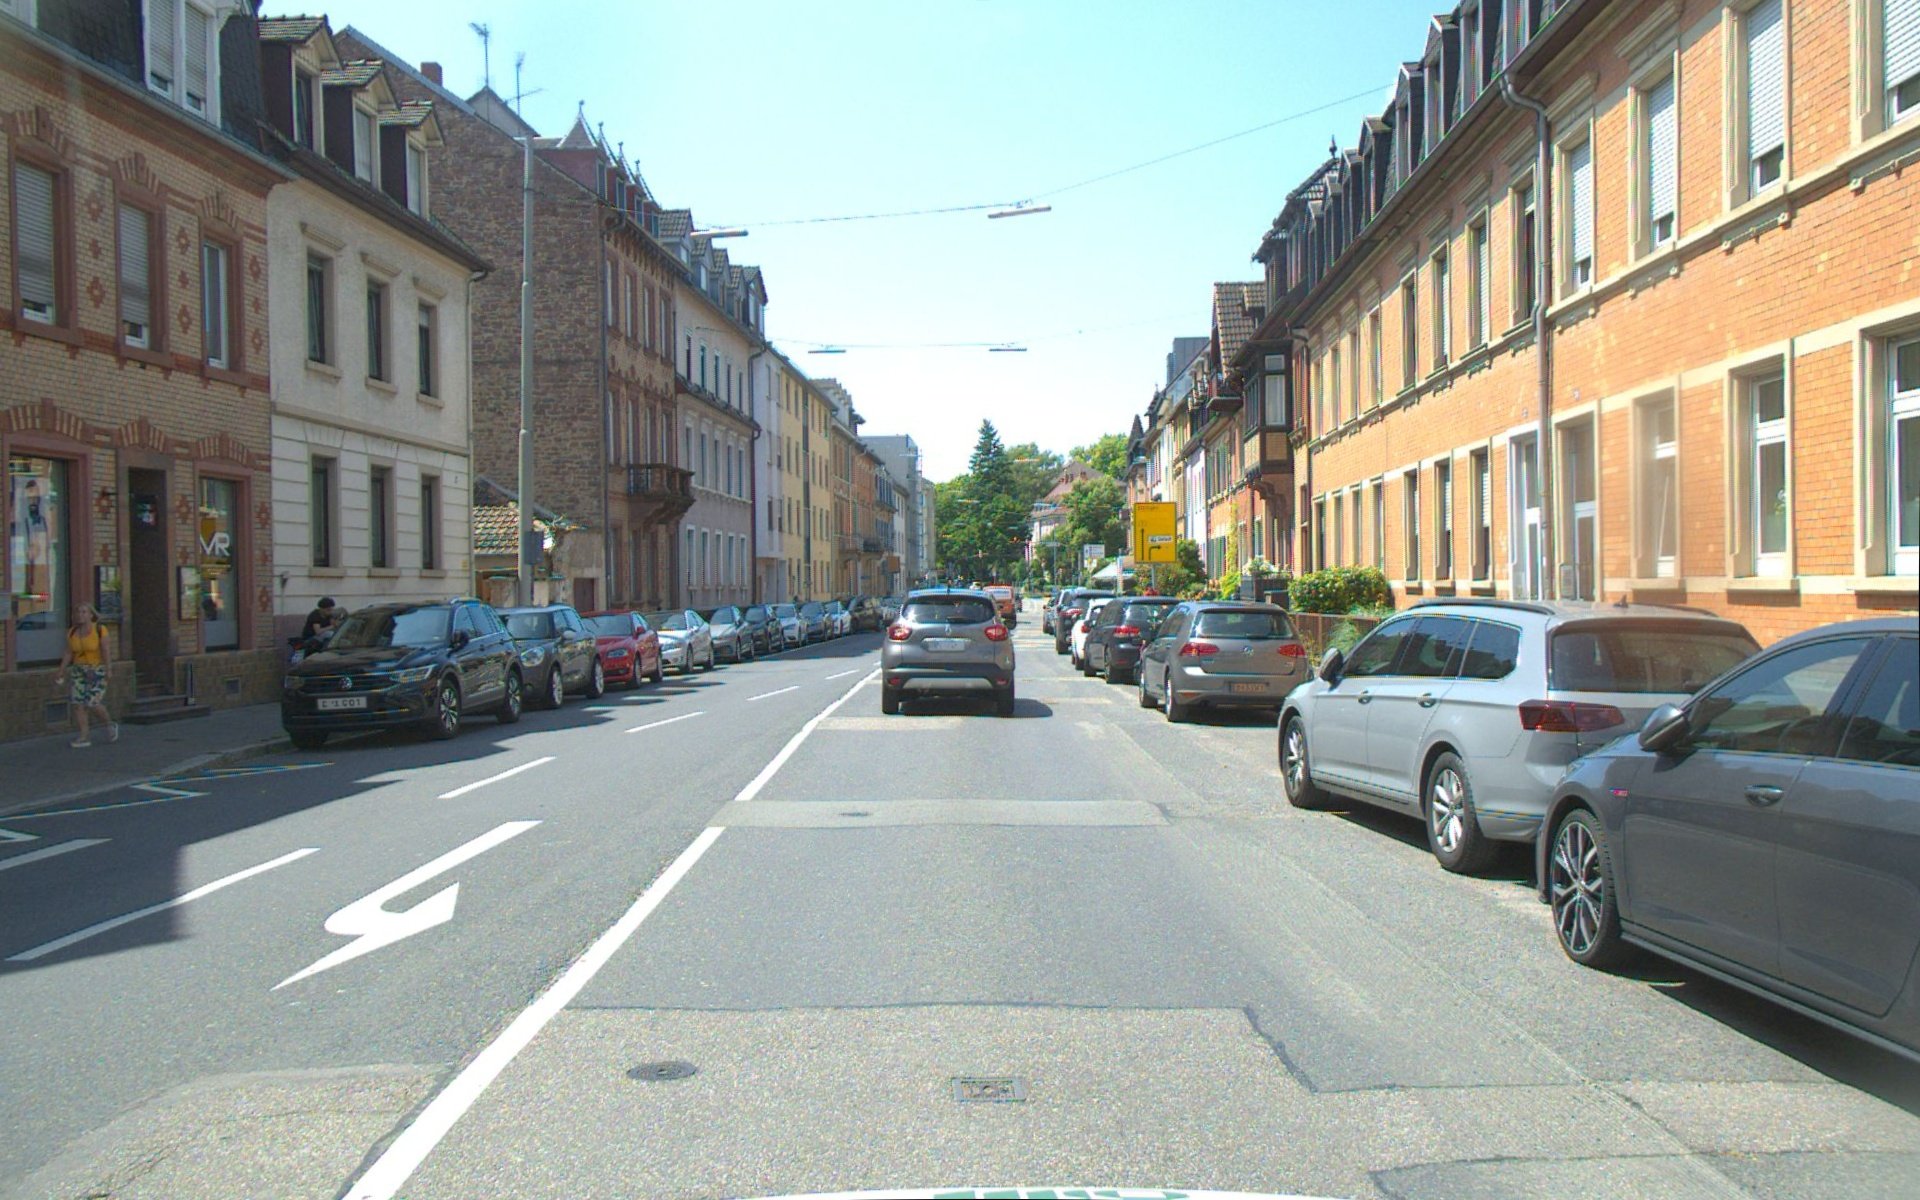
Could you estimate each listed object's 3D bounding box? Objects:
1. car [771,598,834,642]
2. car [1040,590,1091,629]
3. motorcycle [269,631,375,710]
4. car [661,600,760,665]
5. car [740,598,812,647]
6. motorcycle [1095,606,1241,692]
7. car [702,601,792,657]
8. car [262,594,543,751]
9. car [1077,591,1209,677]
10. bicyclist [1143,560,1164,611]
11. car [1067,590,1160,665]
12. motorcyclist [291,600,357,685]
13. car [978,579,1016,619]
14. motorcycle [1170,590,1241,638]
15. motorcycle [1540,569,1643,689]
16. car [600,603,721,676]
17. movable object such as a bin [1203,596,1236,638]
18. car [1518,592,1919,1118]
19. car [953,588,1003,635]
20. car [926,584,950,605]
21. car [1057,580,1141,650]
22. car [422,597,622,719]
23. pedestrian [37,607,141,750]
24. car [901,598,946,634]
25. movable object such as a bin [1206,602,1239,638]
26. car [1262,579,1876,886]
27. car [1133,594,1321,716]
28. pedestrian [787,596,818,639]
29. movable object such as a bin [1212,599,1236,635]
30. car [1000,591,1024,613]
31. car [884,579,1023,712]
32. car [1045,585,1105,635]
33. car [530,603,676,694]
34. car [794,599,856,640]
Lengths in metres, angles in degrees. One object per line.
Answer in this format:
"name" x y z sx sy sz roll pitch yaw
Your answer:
"car" -5.698 0.718 60.407 1.802 1.447 4.645 -3 0 0
"car" 4.244 0.369 67.286 1.822 1.513 4.310 1 0 0
"motorcycle" -9.712 1.053 25.258 0.828 1.097 1.872 -1 0 1
"car" -6.465 0.824 43.356 1.803 1.447 4.502 -5 0 0
"car" -6.004 0.705 54.479 1.802 1.447 4.502 -3 0 0
"motorcycle" 3.200 0.735 25.548 1.959 1.246 1.107 1 0 40
"car" -6.275 0.819 49.224 1.802 1.447 4.504 -5 0 3
"car" -6.689 0.799 20.407 1.802 1.624 4.503 -3 0 1
"car" 3.248 0.584 30.139 1.616 1.439 4.497 0 0 -4
"bicyclist" 5.787 -0.430 49.516 0.521 1.495 0.791 -1 0 2
"car" 3.197 0.542 35.128 1.681 1.439 4.590 -1 0 2
"motorcyclist" -9.725 0.636 25.305 0.703 1.270 0.712 -1 0 0
"car" 1.965 -0.082 89.049 1.952 2.049 4.467 -2 0 1
"motorcycle" 7.867 0.446 53.075 2.085 1.433 0.938 -3 0 1
"motorcycle" 6.803 0.302 17.868 0.583 1.246 1.361 -1 0 1
"car" -6.703 0.847 37.493 1.802 1.447 4.503 -3 0 1
"movable object such as a bin" 7.064 0.452 45.037 0.772 1.107 0.539 -1 0 -1
"car" 3.428 0.704 5.450 1.618 1.445 4.046 -1 0 -3
"car" 0.667 0.411 62.039 1.775 1.649 4.441 -2 0 0
"car" -1.970 -0.504 151.039 1.865 1.853 4.304 -1 0 3
"car" 3.637 0.377 43.932 1.952 1.691 4.626 -1 0 2
"car" -6.803 0.847 26.204 1.802 1.624 4.503 -4 0 1
"pedestrian" -9.599 0.842 18.259 0.595 1.521 0.971 0 0 2
"car" -1.520 0.660 70.699 1.753 1.445 4.315 -1 0 1
"movable object such as a bin" 7.055 0.537 44.394 0.772 0.923 0.539 -1 0 -1
"car" 3.442 0.650 10.432 1.818 1.489 4.544 0 0 -6
"car" 3.305 0.639 21.183 1.666 1.405 4.166 0 0 -1
"pedestrian" -6.599 0.726 69.448 1.127 1.780 0.970 -1 0 4
"movable object such as a bin" 8.055 0.526 50.525 0.645 1.073 0.749 -1 0 3
"car" 3.935 0.135 125.004 1.726 1.587 3.944 -1 0 3
"car" -0.099 0.560 22.551 1.708 1.645 3.999 0 0 -1
"car" 4.258 0.331 61.767 1.822 1.778 4.617 1 0 -1
"car" -6.595 0.851 31.015 1.803 1.447 4.500 -4 0 -2
"car" -5.373 0.753 66.184 1.801 1.447 4.559 -4 0 3
